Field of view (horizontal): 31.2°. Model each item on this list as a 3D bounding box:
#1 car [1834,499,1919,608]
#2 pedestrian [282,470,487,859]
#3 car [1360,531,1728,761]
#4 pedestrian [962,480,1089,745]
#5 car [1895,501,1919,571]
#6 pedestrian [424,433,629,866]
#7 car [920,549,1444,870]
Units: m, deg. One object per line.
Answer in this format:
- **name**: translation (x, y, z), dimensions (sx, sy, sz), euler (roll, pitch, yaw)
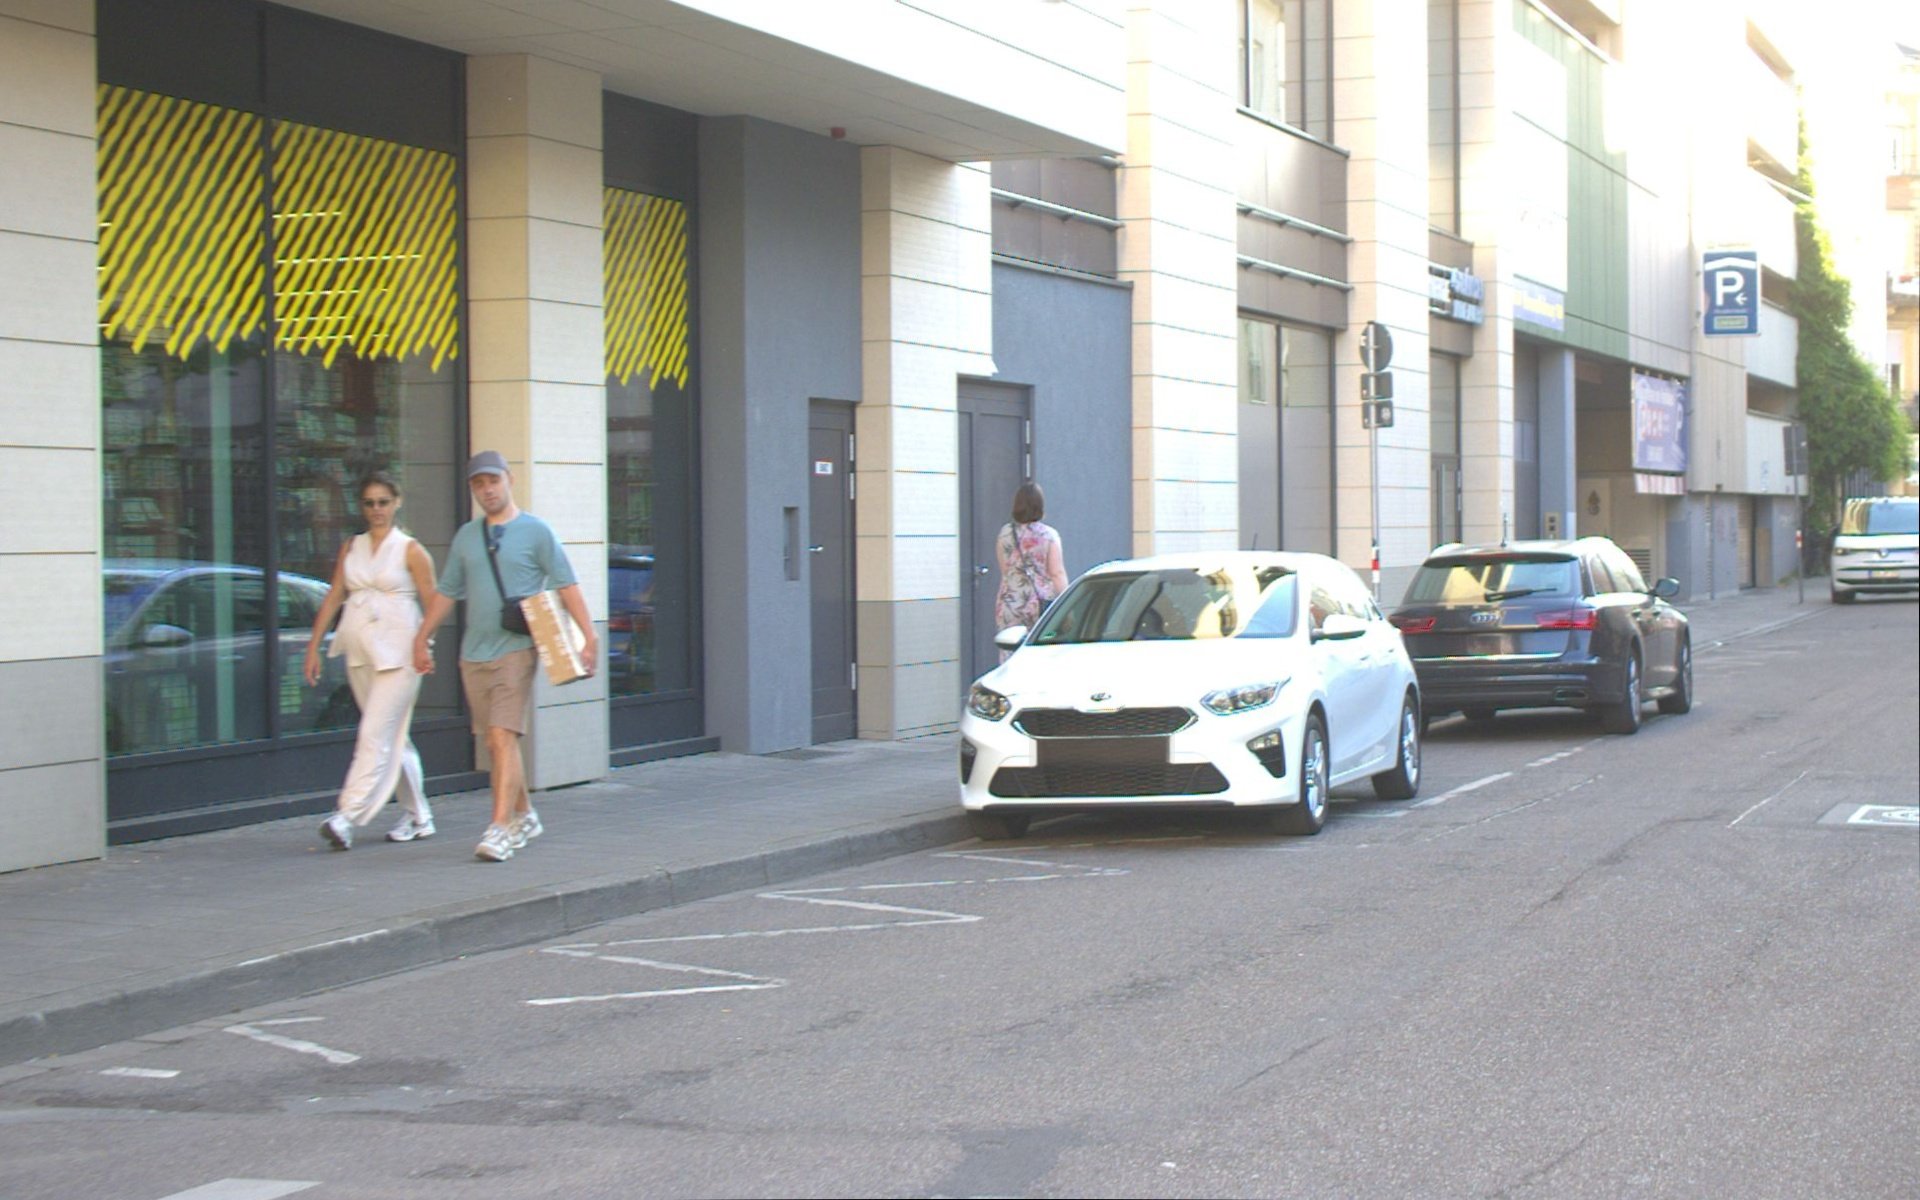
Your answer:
- **car**: translation (17.151, -0.885, 62.969), dimensions (1.885, 1.905, 4.744), euler (0, 2, 18)
- **pedestrian**: translation (-2.527, 0.264, 15.141), dimensions (0.672, 1.669, 0.647), euler (1, 2, 17)
- **car**: translation (4.664, 0.279, 26.887), dimensions (1.885, 1.592, 4.684), euler (1, 2, 22)
- **pedestrian**: translation (0.439, 0.072, 22.923), dimensions (0.672, 1.738, 0.647), euler (0, 1, 20)
- **car**: translation (21.107, -1.384, 73.612), dimensions (1.885, 1.448, 3.997), euler (0, 2, 18)
- **pedestrian**: translation (-1.877, 0.196, 14.938), dimensions (0.672, 1.830, 0.647), euler (1, 2, 17)
- **car**: translation (1.317, 0.479, 18.384), dimensions (1.779, 1.448, 4.227), euler (0, 2, 18)
